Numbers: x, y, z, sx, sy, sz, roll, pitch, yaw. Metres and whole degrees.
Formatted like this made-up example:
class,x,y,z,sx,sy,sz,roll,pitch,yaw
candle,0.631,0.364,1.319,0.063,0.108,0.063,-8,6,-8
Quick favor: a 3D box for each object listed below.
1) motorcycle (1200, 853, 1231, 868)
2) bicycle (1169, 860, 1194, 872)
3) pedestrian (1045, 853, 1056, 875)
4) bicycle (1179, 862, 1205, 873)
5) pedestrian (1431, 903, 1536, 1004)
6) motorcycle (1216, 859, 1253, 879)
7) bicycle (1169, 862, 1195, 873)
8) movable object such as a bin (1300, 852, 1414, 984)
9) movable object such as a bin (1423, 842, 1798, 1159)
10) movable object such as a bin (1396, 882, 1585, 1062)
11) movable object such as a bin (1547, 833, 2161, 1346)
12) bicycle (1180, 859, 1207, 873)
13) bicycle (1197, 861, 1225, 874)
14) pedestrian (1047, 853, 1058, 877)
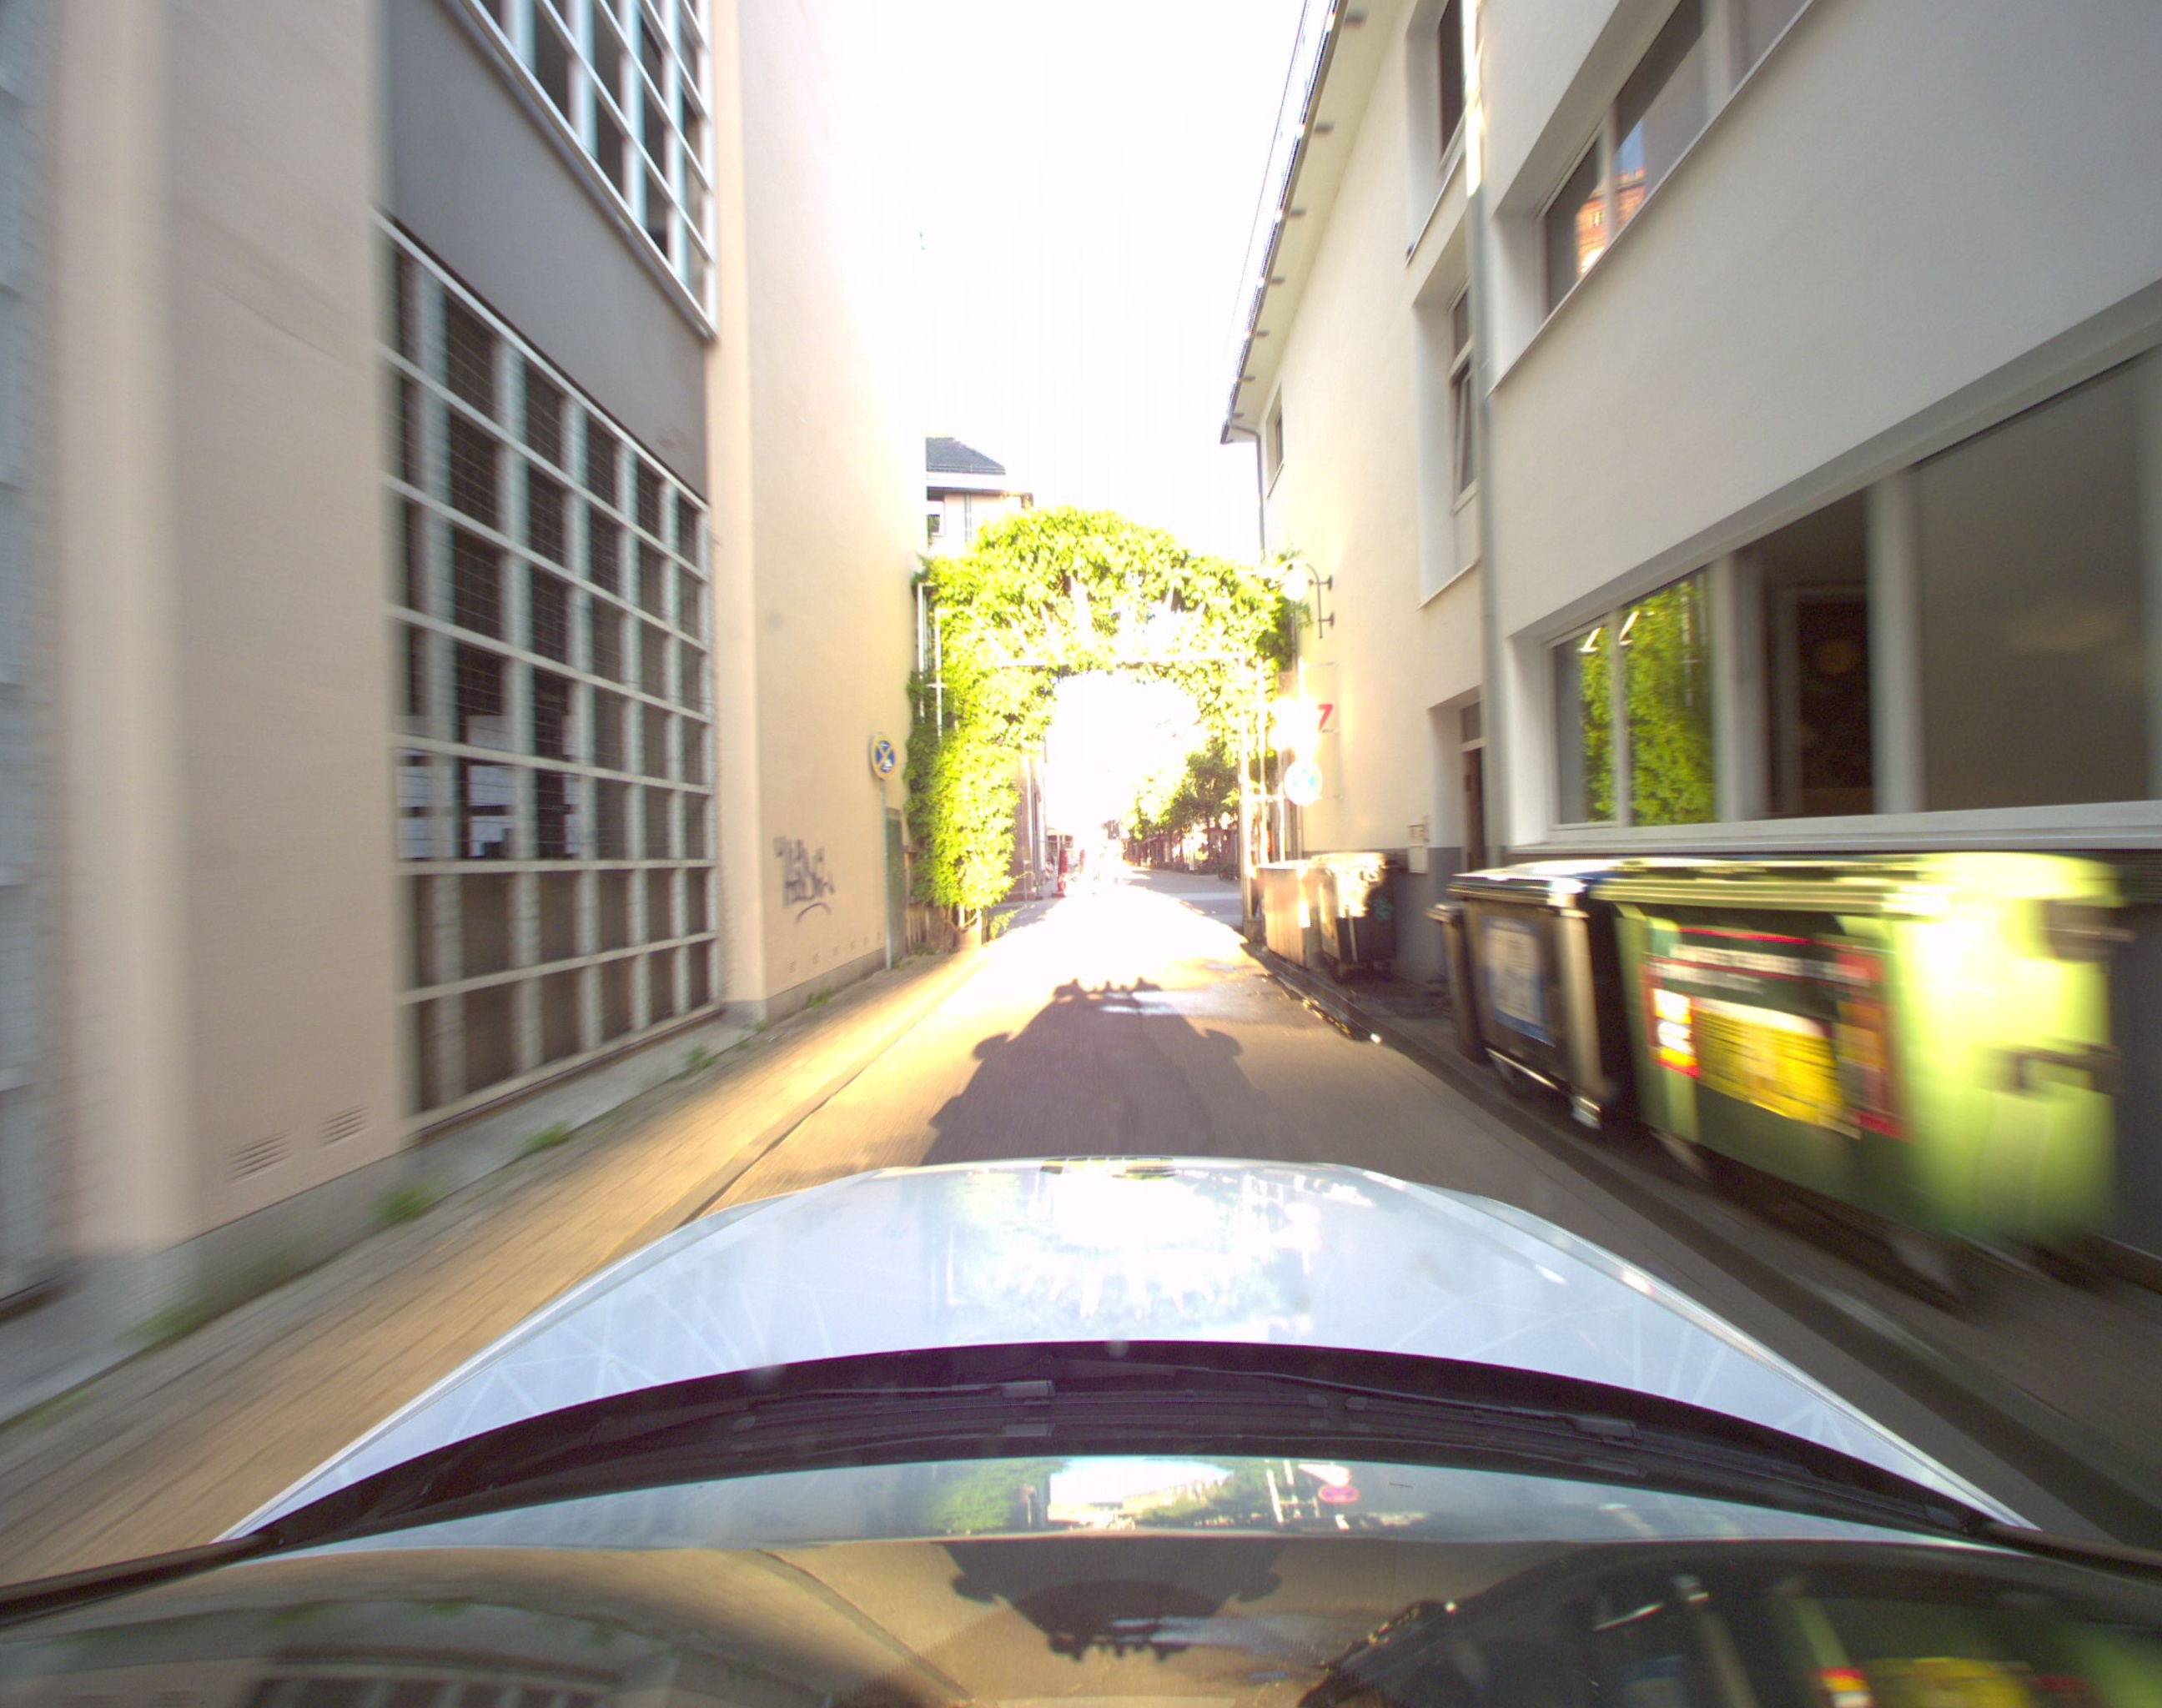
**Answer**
class,x,y,z,sx,sy,sz,roll,pitch,yaw
motorcycle,10.837,0.533,65.582,2.481,1.095,0.586,-2,-2,-22
bicycle,9.024,1.073,73.129,2.151,0.926,0.589,-2,-1,-7
pedestrian,-2.253,0.737,60.499,0.651,1.651,0.635,-2,-1,5
bicycle,9.706,1.183,71.025,2.151,0.926,0.589,-2,-1,-7
pedestrian,3.603,0.879,7.345,0.606,0.810,0.721,0,1,1
motorcycle,9.266,0.909,49.167,2.148,1.151,0.493,-2,-1,-3
bicycle,8.908,1.177,72.020,2.151,0.926,0.589,-2,-1,-7
movable object such as a bin,3.013,0.660,9.027,0.832,1.305,1.292,-4,0,5
movable object such as a bin,2.694,0.664,4.380,1.061,1.366,1.342,-4,0,-1
movable object such as a bin,2.778,0.769,5.606,0.866,1.075,0.738,-4,0,0
movable object such as a bin,2.622,0.657,2.976,0.935,1.366,1.340,-4,0,-5
bicycle,9.483,1.031,68.620,2.137,1.061,0.593,-3,-2,14
bicycle,10.623,1.111,66.586,2.157,0.926,0.587,-2,-1,-15
pedestrian,-2.106,0.799,59.820,0.651,1.764,0.635,-2,-1,5
